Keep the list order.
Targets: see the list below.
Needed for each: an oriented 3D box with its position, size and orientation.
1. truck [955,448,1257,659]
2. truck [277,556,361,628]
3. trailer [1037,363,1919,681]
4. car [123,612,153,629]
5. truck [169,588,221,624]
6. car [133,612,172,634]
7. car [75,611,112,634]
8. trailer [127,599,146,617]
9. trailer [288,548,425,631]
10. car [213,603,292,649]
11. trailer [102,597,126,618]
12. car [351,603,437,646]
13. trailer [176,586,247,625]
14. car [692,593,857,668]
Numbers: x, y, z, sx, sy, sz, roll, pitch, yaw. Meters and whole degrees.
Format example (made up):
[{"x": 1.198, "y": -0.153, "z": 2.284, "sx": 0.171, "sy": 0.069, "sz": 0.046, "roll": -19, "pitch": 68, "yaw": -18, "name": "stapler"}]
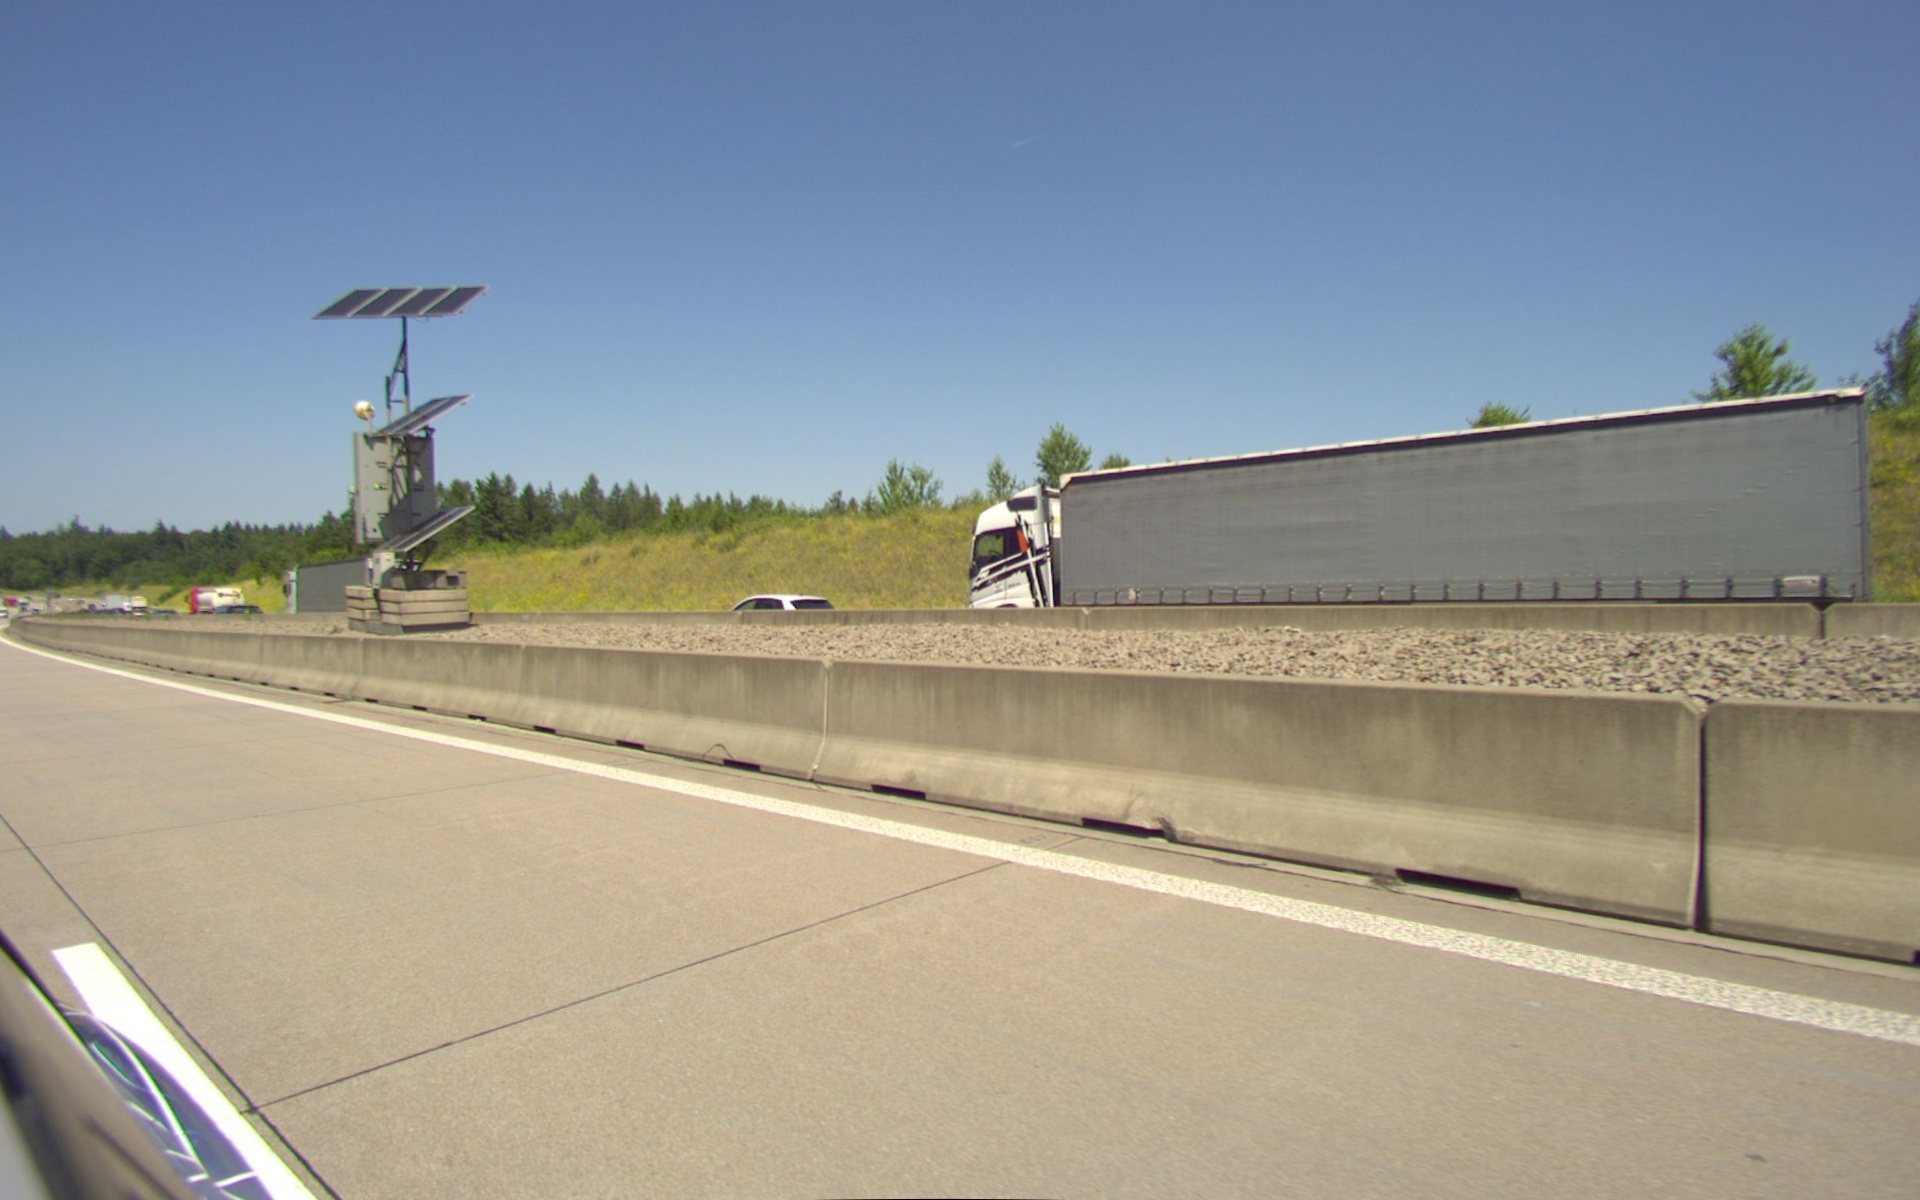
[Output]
[{"x": 3.242, "y": -0.959, "z": 23.368, "sx": 6.224, "sy": 4.199, "sz": 2.904, "roll": -1, "pitch": 2, "yaw": 40, "name": "truck"}, {"x": -39.679, "y": -0.522, "z": 62.571, "sx": 5.761, "sy": 4.199, "sz": 2.902, "roll": -1, "pitch": 2, "yaw": 43, "name": "truck"}, {"x": 8.195, "y": -1.018, "z": 19.171, "sx": 14.377, "sy": 4.199, "sz": 2.904, "roll": -1, "pitch": 2, "yaw": 40, "name": "trailer"}, {"x": -84.028, "y": 2.067, "z": 103.447, "sx": 4.001, "sy": 1.730, "sz": 1.971, "roll": -1, "pitch": -1, "yaw": 44, "name": "car"}, {"x": -72.438, "y": 0.580, "z": 95.788, "sx": 5.905, "sy": 3.238, "sz": 2.902, "roll": -1, "pitch": 2, "yaw": 43, "name": "truck"}, {"x": -66.463, "y": 1.869, "z": 83.288, "sx": 4.000, "sy": 1.785, "sz": 1.972, "roll": -1, "pitch": -1, "yaw": 43, "name": "car"}, {"x": -72.136, "y": 1.853, "z": 84.234, "sx": 4.038, "sy": 1.918, "sz": 1.972, "roll": -1, "pitch": -1, "yaw": 43, "name": "car"}, {"x": -170.766, "y": 1.651, "z": 209.827, "sx": 2.692, "sy": 3.438, "sz": 8.968, "roll": -3, "pitch": 2, "yaw": -41, "name": "trailer"}, {"x": -34.726, "y": -0.553, "z": 57.779, "sx": 14.392, "sy": 4.199, "sz": 2.901, "roll": -1, "pitch": 2, "yaw": 44, "name": "trailer"}, {"x": -31.008, "y": 1.099, "z": 44.325, "sx": 3.999, "sy": 1.929, "sz": 1.972, "roll": -1, "pitch": -1, "yaw": 42, "name": "car"}, {"x": -164.427, "y": 1.435, "z": 196.601, "sx": 3.122, "sy": 3.961, "sz": 13.887, "roll": -3, "pitch": 2, "yaw": -41, "name": "trailer"}, {"x": -23.841, "y": 1.015, "z": 42.582, "sx": 3.999, "sy": 1.696, "sz": 1.972, "roll": -1, "pitch": -1, "yaw": 42, "name": "car"}, {"x": -67.576, "y": 0.528, "z": 91.229, "sx": 11.832, "sy": 3.238, "sz": 2.902, "roll": -1, "pitch": 2, "yaw": 43, "name": "trailer"}, {"x": -4.620, "y": 0.713, "z": 24.915, "sx": 3.999, "sy": 1.696, "sz": 1.972, "roll": -1, "pitch": -1, "yaw": 42, "name": "car"}]
